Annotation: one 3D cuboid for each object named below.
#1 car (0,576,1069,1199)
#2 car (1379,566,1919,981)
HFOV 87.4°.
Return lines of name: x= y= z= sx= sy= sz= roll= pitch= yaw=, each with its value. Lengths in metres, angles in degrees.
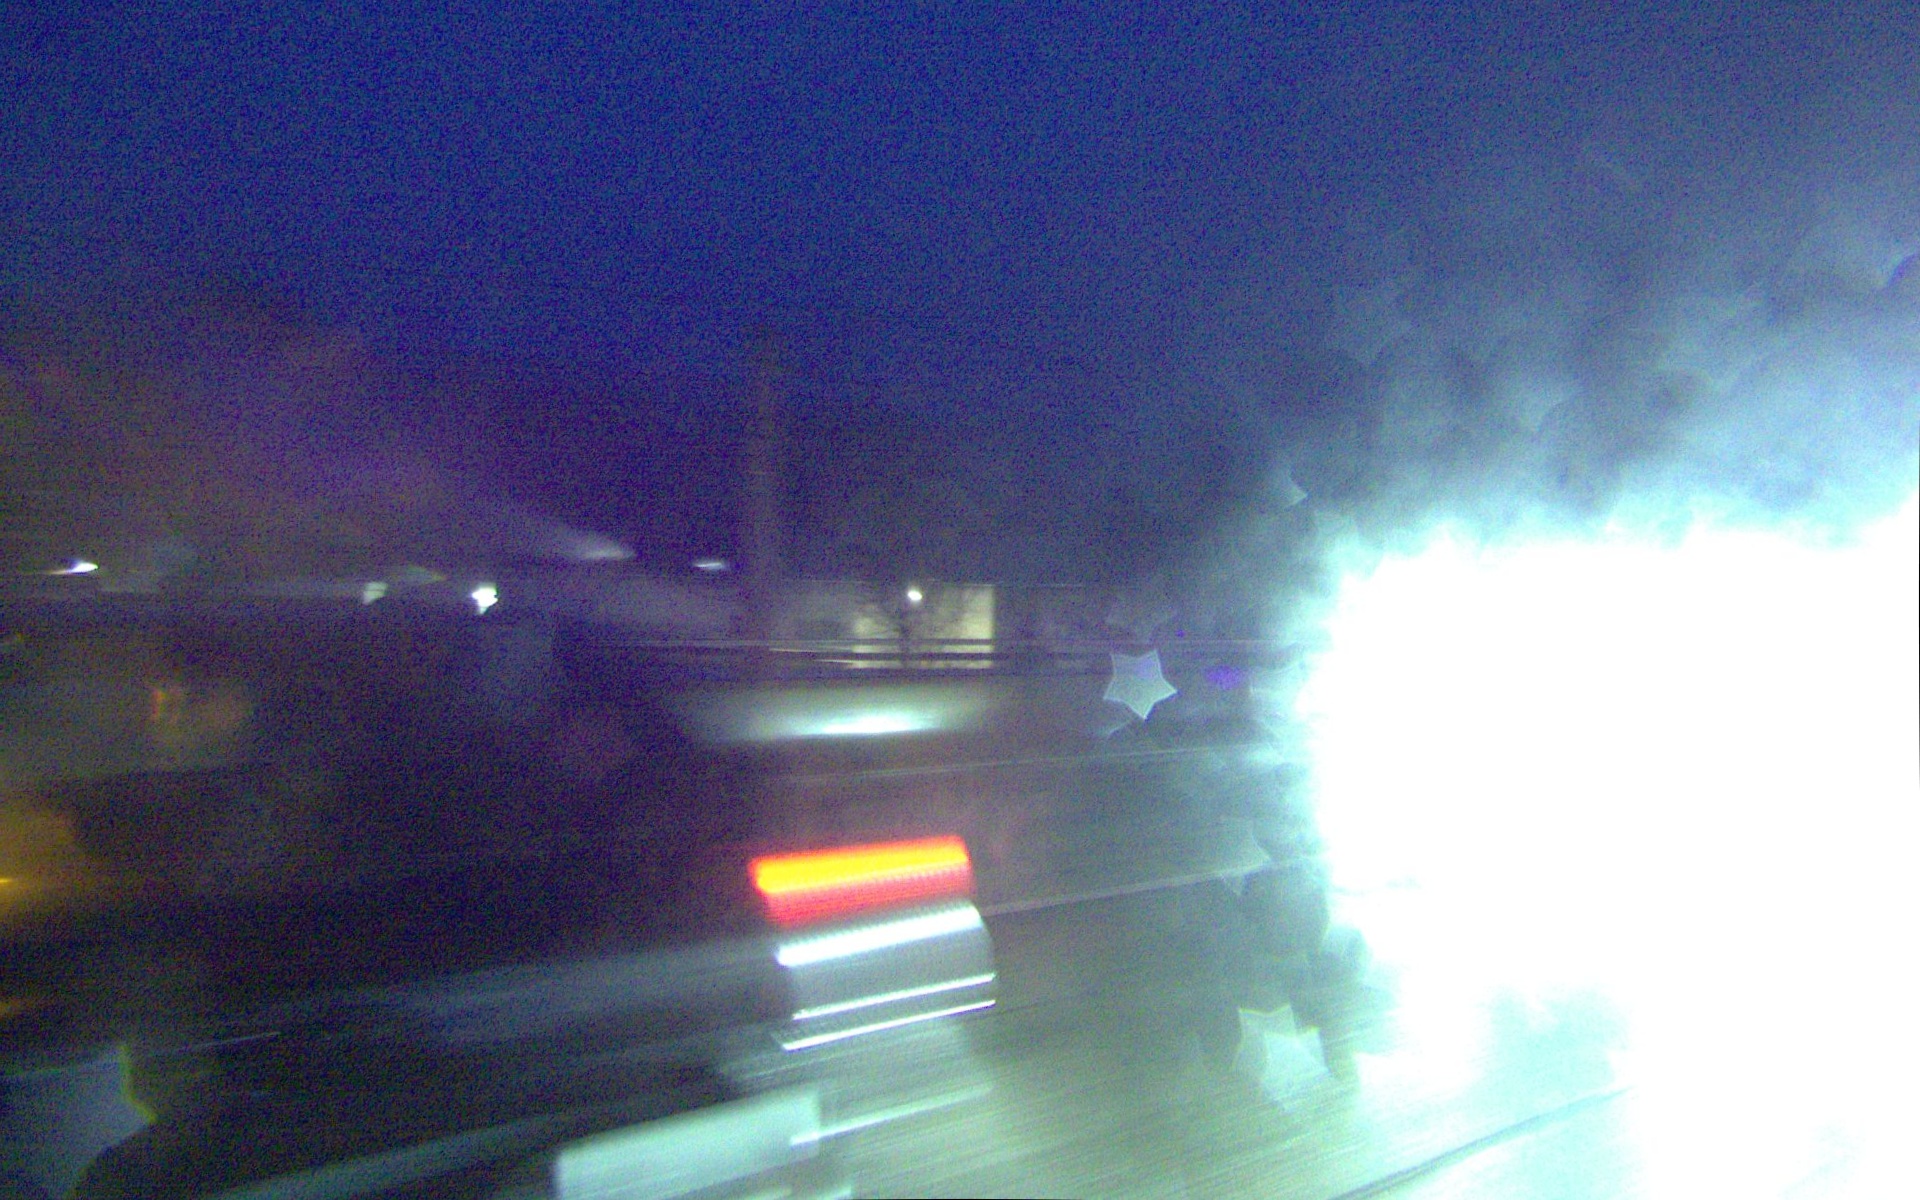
car: x=-1.811 y=0.709 z=1.946 sx=3.840 sy=1.492 sz=1.613 roll=1 pitch=0 yaw=-31
car: x=4.732 y=0.742 z=5.993 sx=4.392 sy=1.691 sz=1.835 roll=1 pitch=0 yaw=-30
